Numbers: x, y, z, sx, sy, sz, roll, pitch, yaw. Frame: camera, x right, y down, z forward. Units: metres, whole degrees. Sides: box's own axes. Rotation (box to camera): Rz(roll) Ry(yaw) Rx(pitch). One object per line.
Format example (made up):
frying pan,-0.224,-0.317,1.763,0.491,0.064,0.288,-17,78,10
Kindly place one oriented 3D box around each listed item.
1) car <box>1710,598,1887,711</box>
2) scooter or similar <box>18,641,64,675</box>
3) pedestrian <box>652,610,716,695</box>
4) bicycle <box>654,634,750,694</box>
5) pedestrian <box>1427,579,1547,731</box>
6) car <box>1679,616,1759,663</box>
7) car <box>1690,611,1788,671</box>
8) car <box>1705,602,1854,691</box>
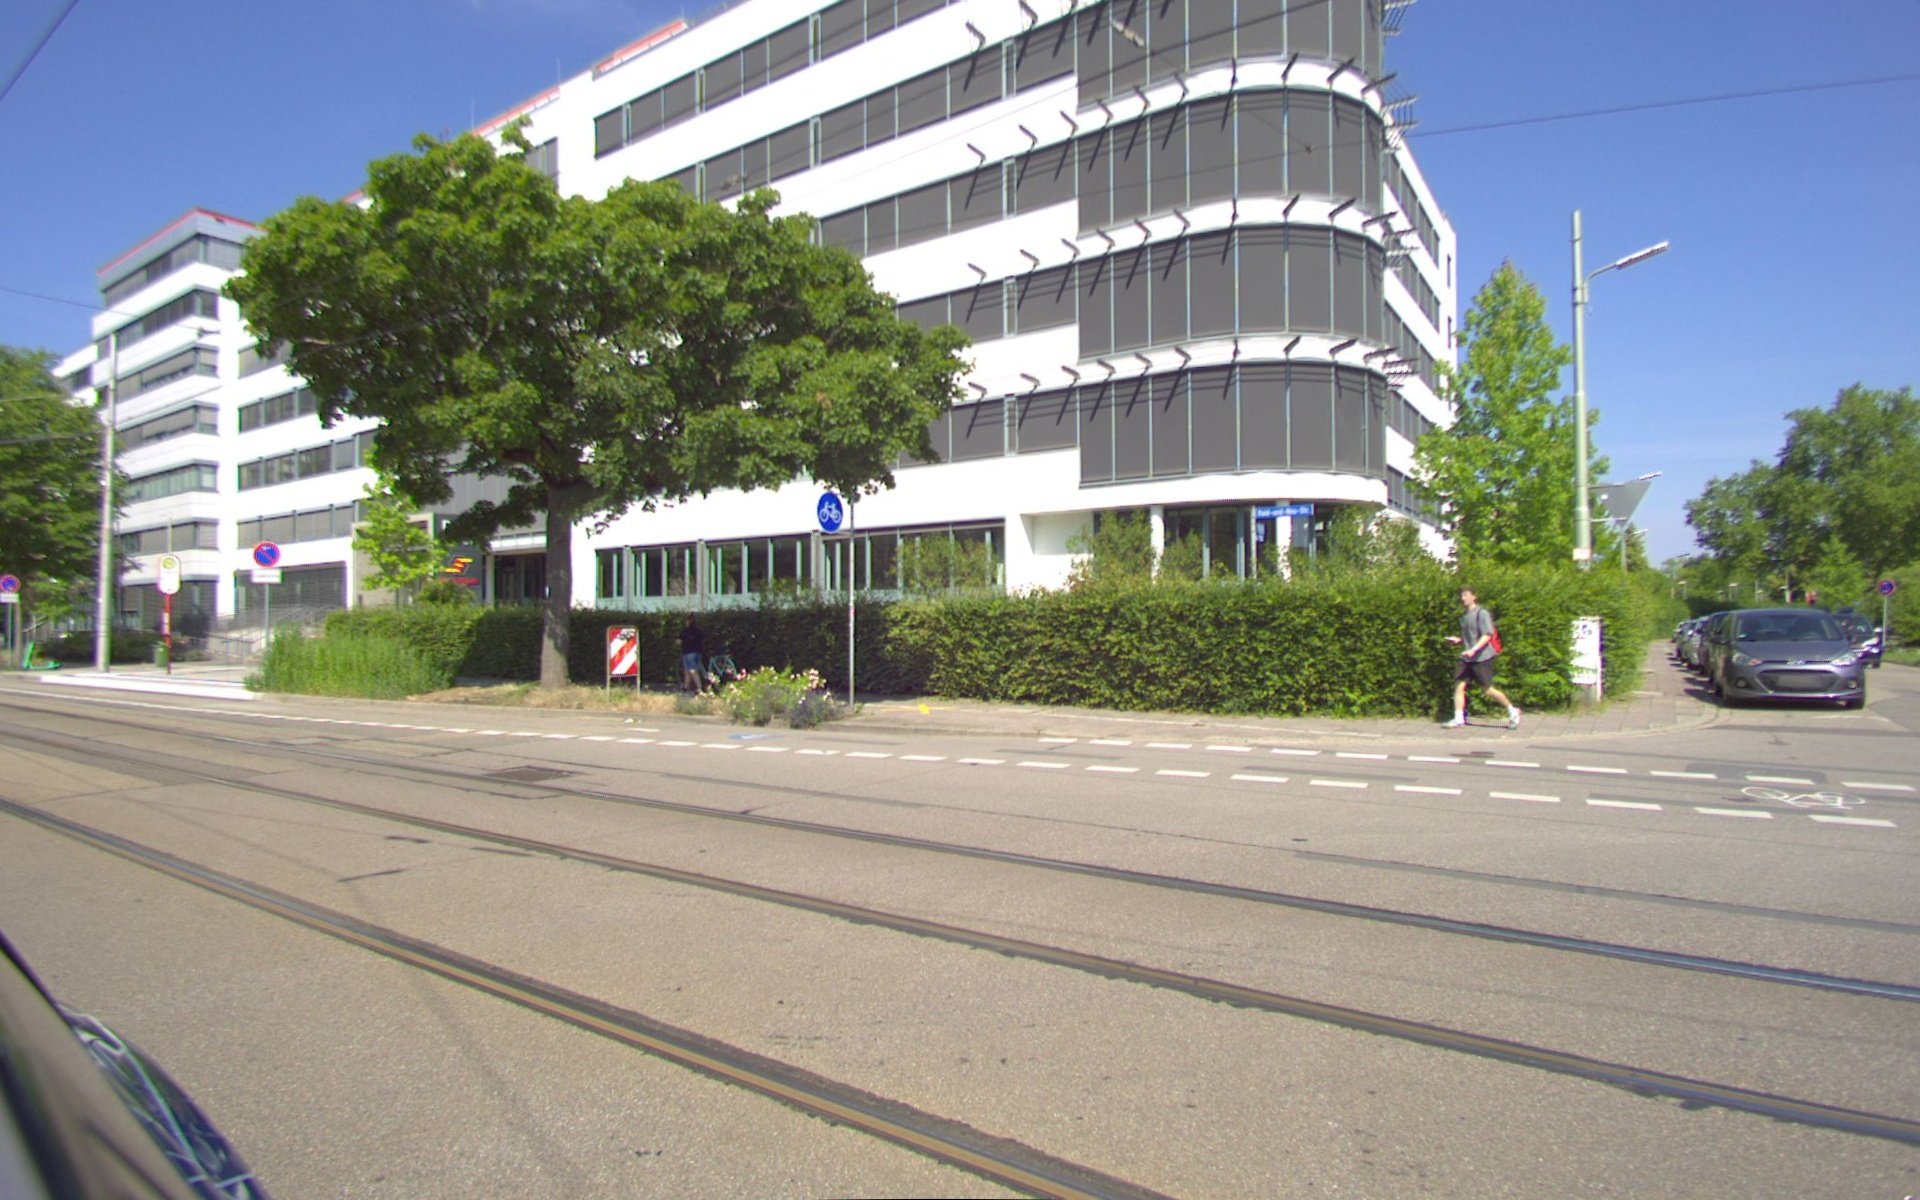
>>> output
car,12.990,0.769,15.896,1.700,1.539,3.654,-2,-1,34
scooter or similar,-32.629,2.047,35.939,0.675,1.175,1.115,-2,-2,38
pedestrian,-5.285,0.997,19.383,0.985,1.575,0.681,-2,-1,31
bicycle,-5.054,1.239,19.794,2.062,1.126,0.630,-2,-3,35
pedestrian,6.600,0.680,12.736,1.061,1.832,0.890,-1,-2,8
car,24.486,1.256,32.771,1.810,1.414,3.784,-2,-2,34
car,21.343,1.085,27.869,1.810,1.516,3.998,-2,-2,34
car,15.711,0.859,19.613,1.810,1.530,4.121,-2,-2,34
